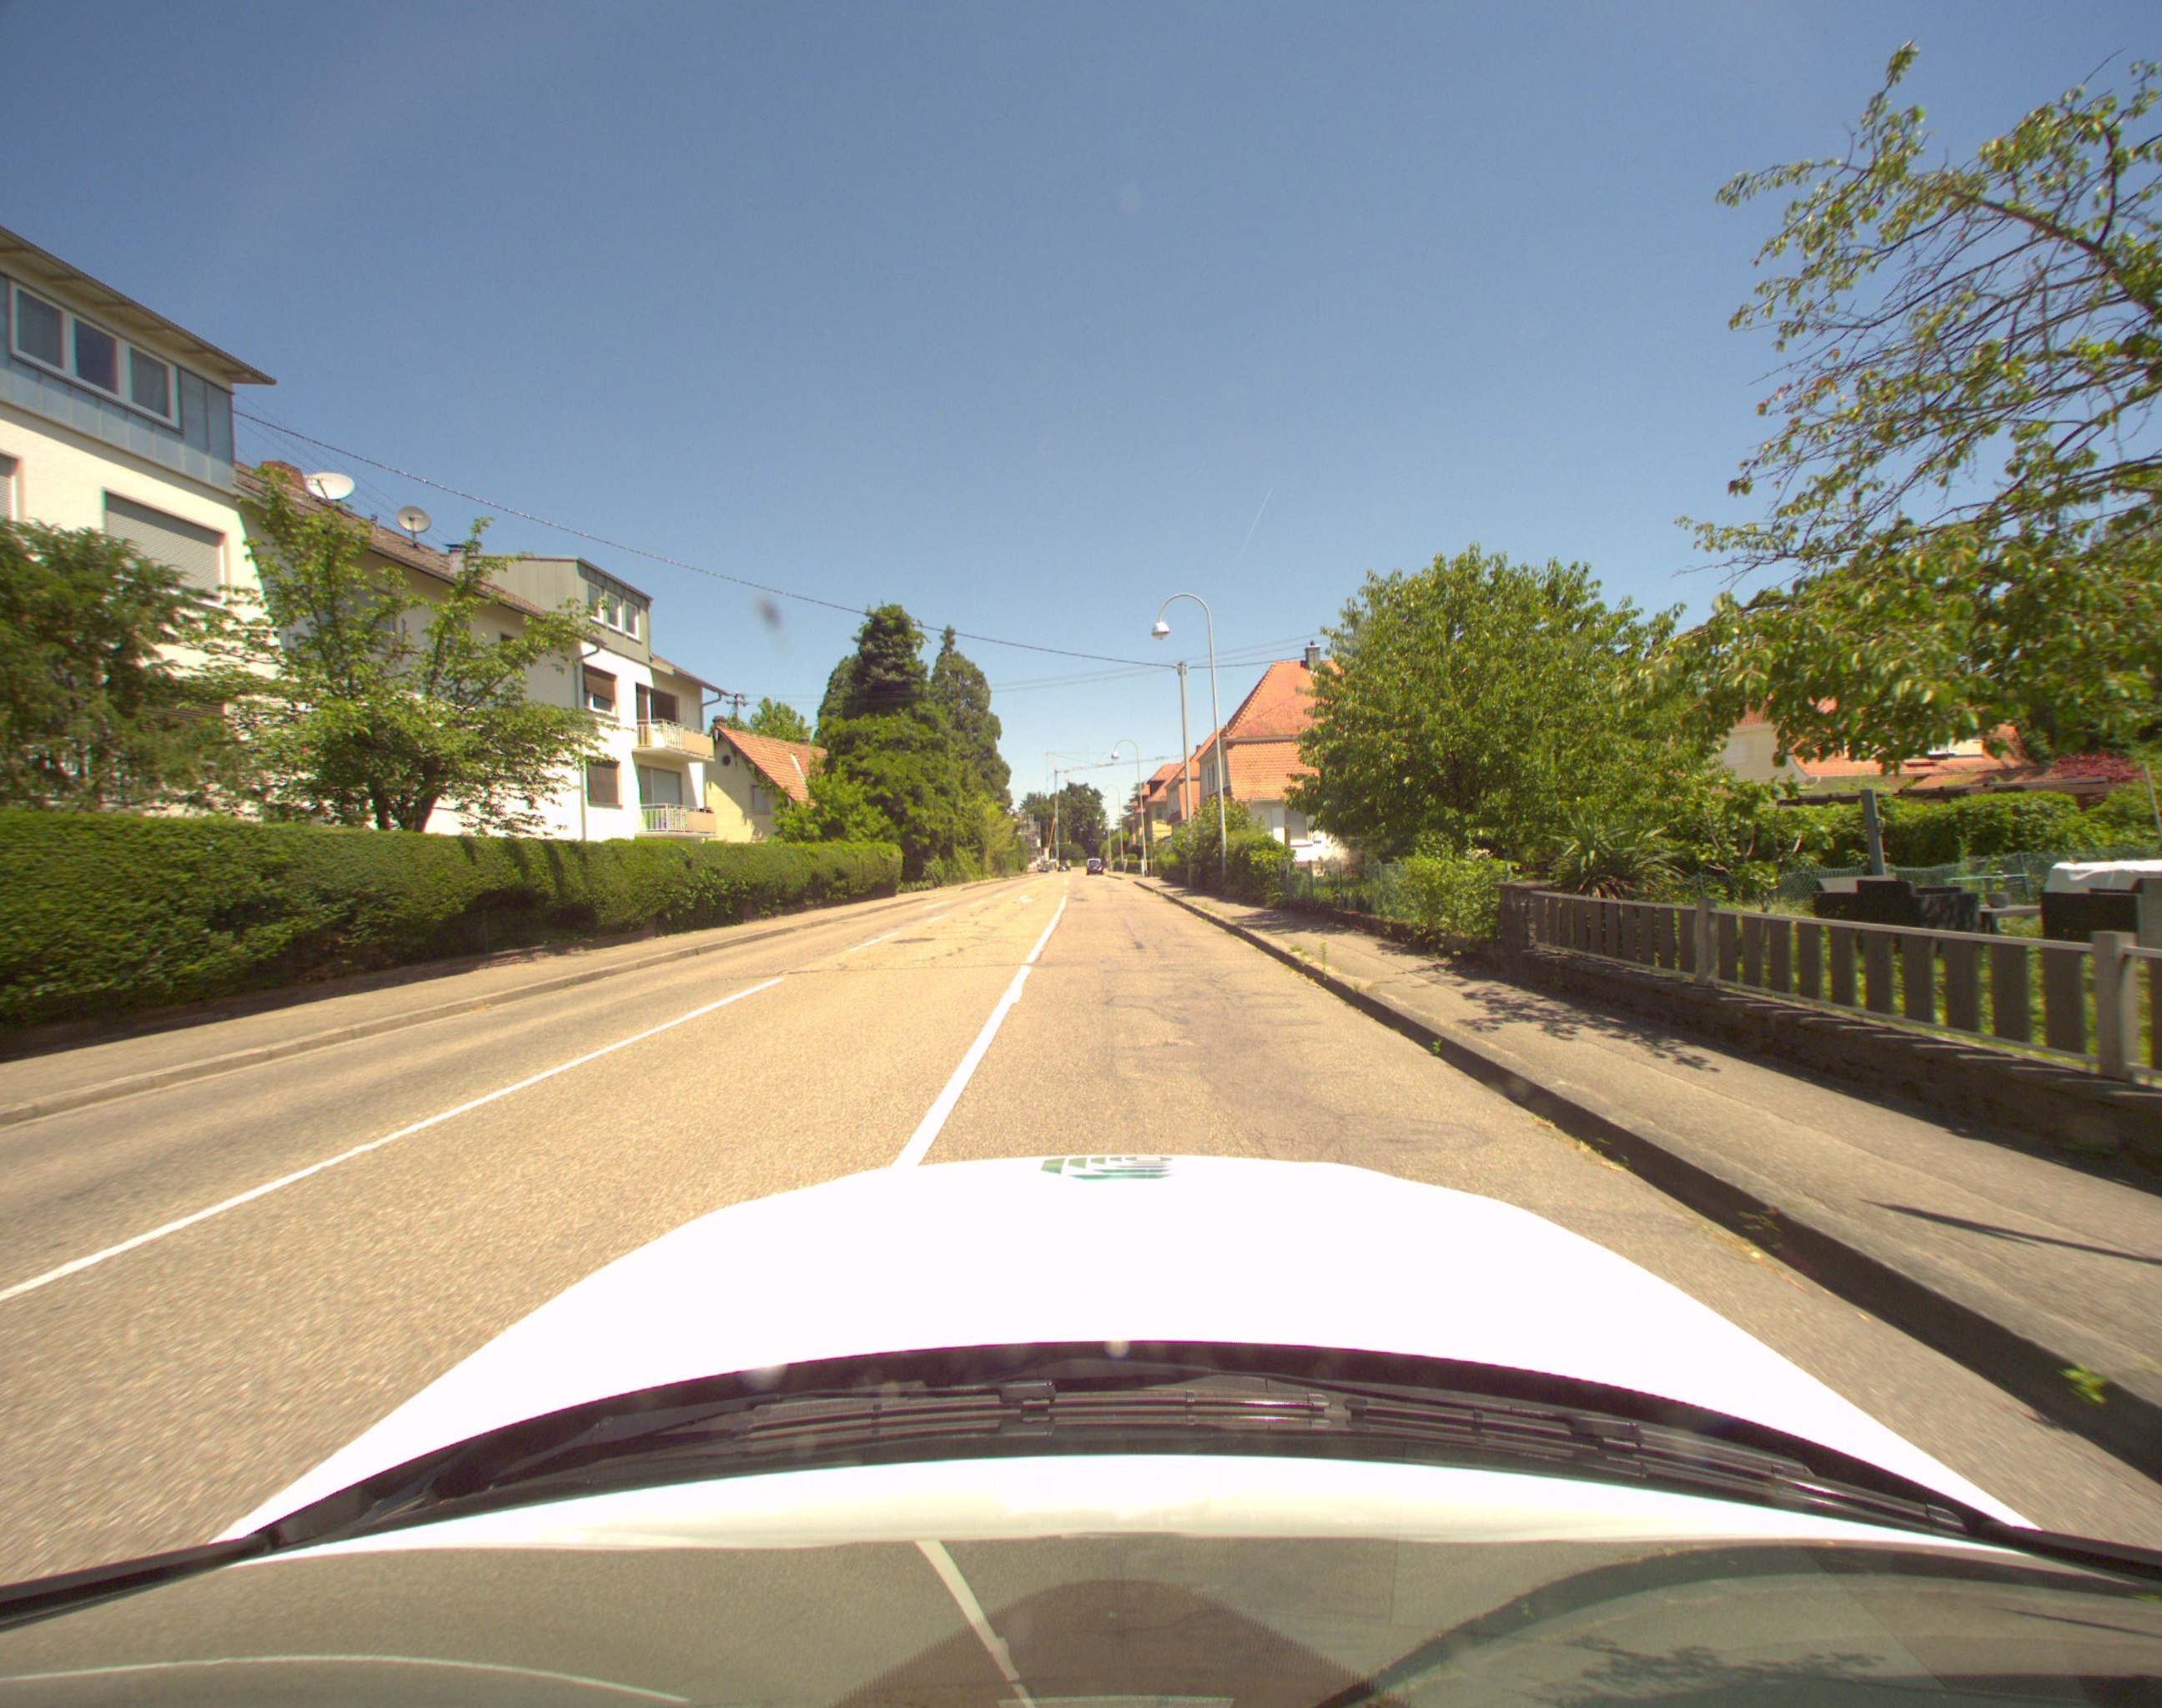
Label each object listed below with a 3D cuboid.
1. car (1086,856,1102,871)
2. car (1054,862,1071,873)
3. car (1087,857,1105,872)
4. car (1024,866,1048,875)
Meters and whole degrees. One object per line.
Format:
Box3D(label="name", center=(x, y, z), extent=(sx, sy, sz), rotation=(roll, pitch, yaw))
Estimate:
Box3D(label="car", center=(1.666, 1.219, 104.952), extent=(1.987, 1.901, 4.821), rotation=(0, -1, 0))
Box3D(label="car", center=(-3.531, 2.613, 158.319), extent=(1.979, 1.850, 4.730), rotation=(-2, 2, 14))
Box3D(label="car", center=(1.550, 1.112, 85.221), extent=(1.687, 1.419, 4.549), rotation=(-2, -1, -1))
Box3D(label="car", center=(-8.378, 3.047, 150.470), extent=(3.958, 1.468, 1.973), rotation=(-3, 0, 14))
